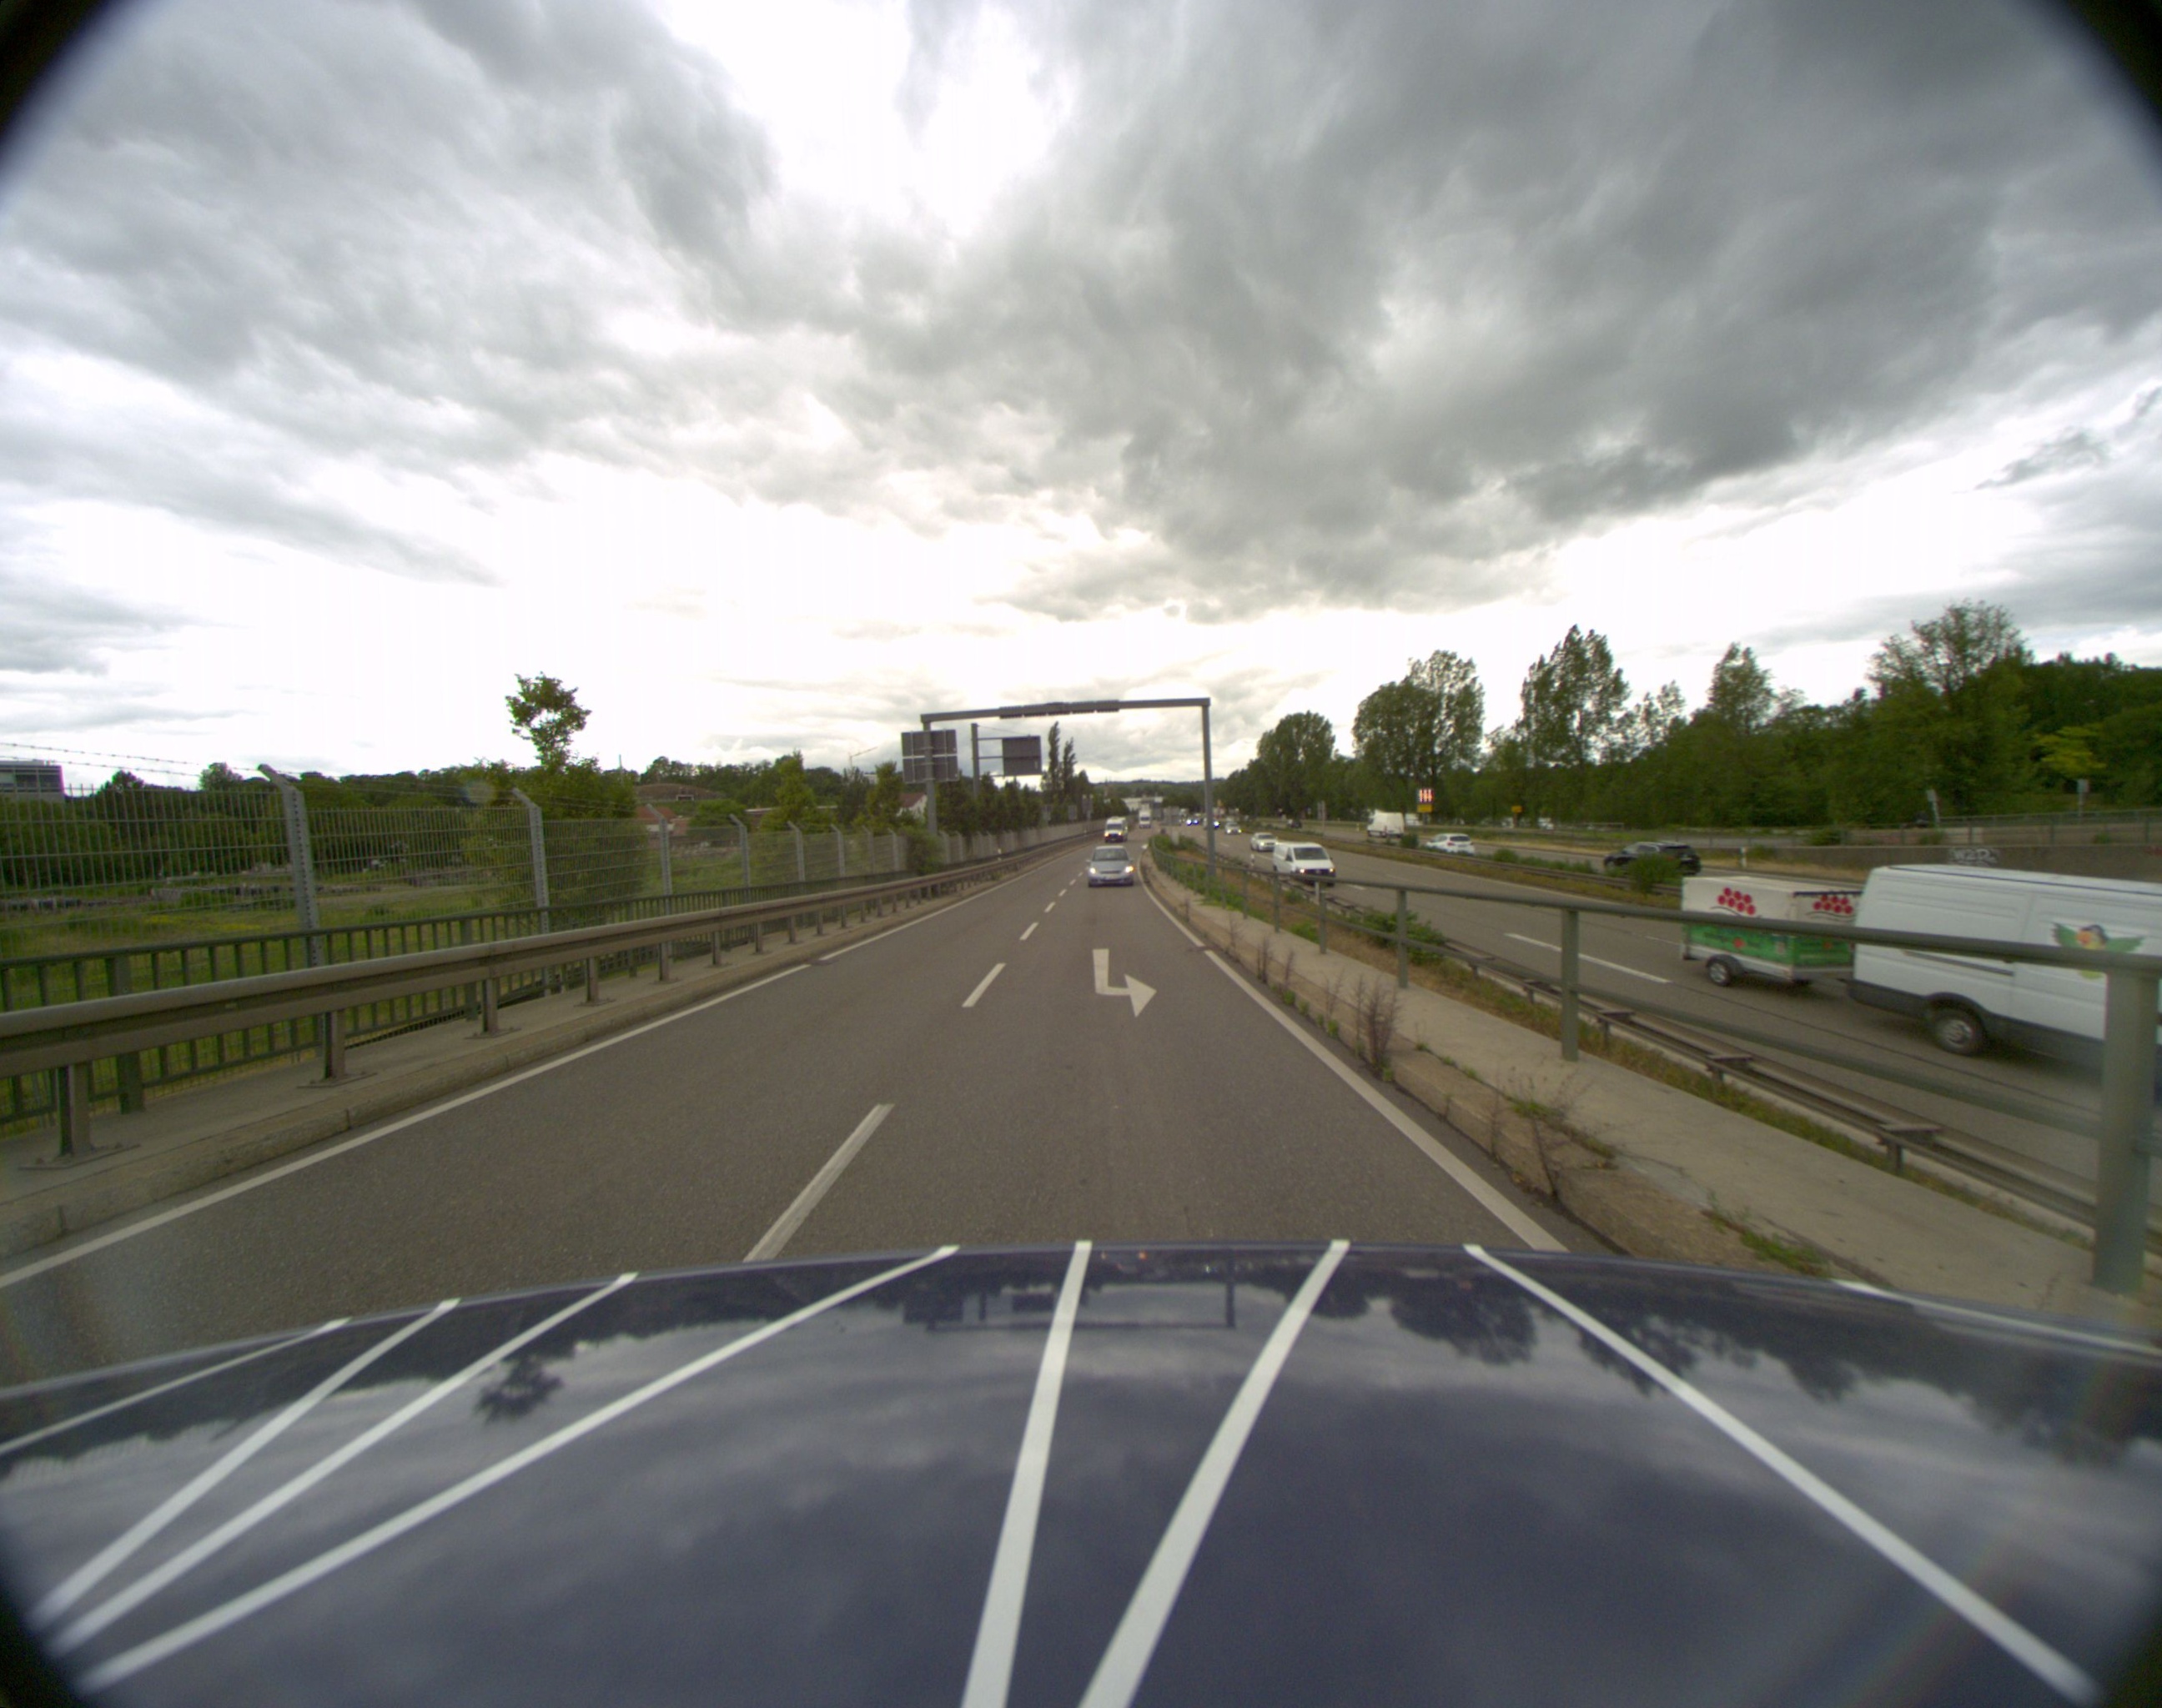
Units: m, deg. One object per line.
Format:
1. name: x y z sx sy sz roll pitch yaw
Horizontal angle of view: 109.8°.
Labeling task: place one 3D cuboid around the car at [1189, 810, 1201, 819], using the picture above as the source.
1. car: 24.867 -8.654 166.246 1.845 1.704 4.276 -3 4 0

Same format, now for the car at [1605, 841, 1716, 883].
1. car: 27.172 0.317 35.816 1.903 1.641 4.330 -1 4 1

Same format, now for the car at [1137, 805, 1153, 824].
1. car: 12.140 -7.416 143.351 2.664 3.311 7.092 -2 2 6

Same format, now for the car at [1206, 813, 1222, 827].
1. car: 21.145 -5.389 120.796 1.954 1.925 4.893 -2 4 3

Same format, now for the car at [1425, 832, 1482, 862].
1. car: 24.003 -0.466 49.119 1.761 1.641 3.929 -2 4 0

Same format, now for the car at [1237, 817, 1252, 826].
1. car: 30.815 -6.104 143.386 1.903 1.641 3.930 -2 3 1

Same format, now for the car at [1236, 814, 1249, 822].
1. car: 33.681 -7.470 158.198 1.903 1.641 3.930 -2 3 1

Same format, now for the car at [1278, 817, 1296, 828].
1. car: 32.281 -4.969 119.133 1.903 1.640 3.931 -2 1 1

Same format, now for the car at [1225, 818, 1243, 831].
1. car: 19.949 -3.810 99.169 1.560 1.544 3.680 -2 4 0

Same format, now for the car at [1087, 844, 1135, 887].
1. car: 1.149 0.430 31.098 1.781 1.578 3.999 -2 1 0

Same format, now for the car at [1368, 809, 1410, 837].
1. car: 32.186 -3.290 79.584 2.215 2.765 5.357 -1 4 1

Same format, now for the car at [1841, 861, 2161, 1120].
1. car: 13.646 1.693 9.672 1.998 2.670 5.929 -3 4 1

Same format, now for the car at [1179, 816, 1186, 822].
1. car: 28.237 -9.705 211.016 1.858 1.598 4.165 0 4 6

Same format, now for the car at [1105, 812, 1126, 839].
1. car: 3.914 -3.102 85.046 2.115 2.767 6.781 -2 1 4

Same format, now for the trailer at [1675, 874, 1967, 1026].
1. trailer: 13.768 1.643 14.536 1.733 2.118 3.934 -2 4 1

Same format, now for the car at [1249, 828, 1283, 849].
1. car: 14.922 -1.265 61.321 1.747 1.444 4.163 -2 3 0

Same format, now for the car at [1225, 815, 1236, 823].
1. car: 34.537 -8.055 175.374 1.903 1.641 3.930 -2 3 1

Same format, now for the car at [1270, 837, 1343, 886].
1. car: 10.729 0.302 36.517 1.998 1.867 5.195 -2 4 1
